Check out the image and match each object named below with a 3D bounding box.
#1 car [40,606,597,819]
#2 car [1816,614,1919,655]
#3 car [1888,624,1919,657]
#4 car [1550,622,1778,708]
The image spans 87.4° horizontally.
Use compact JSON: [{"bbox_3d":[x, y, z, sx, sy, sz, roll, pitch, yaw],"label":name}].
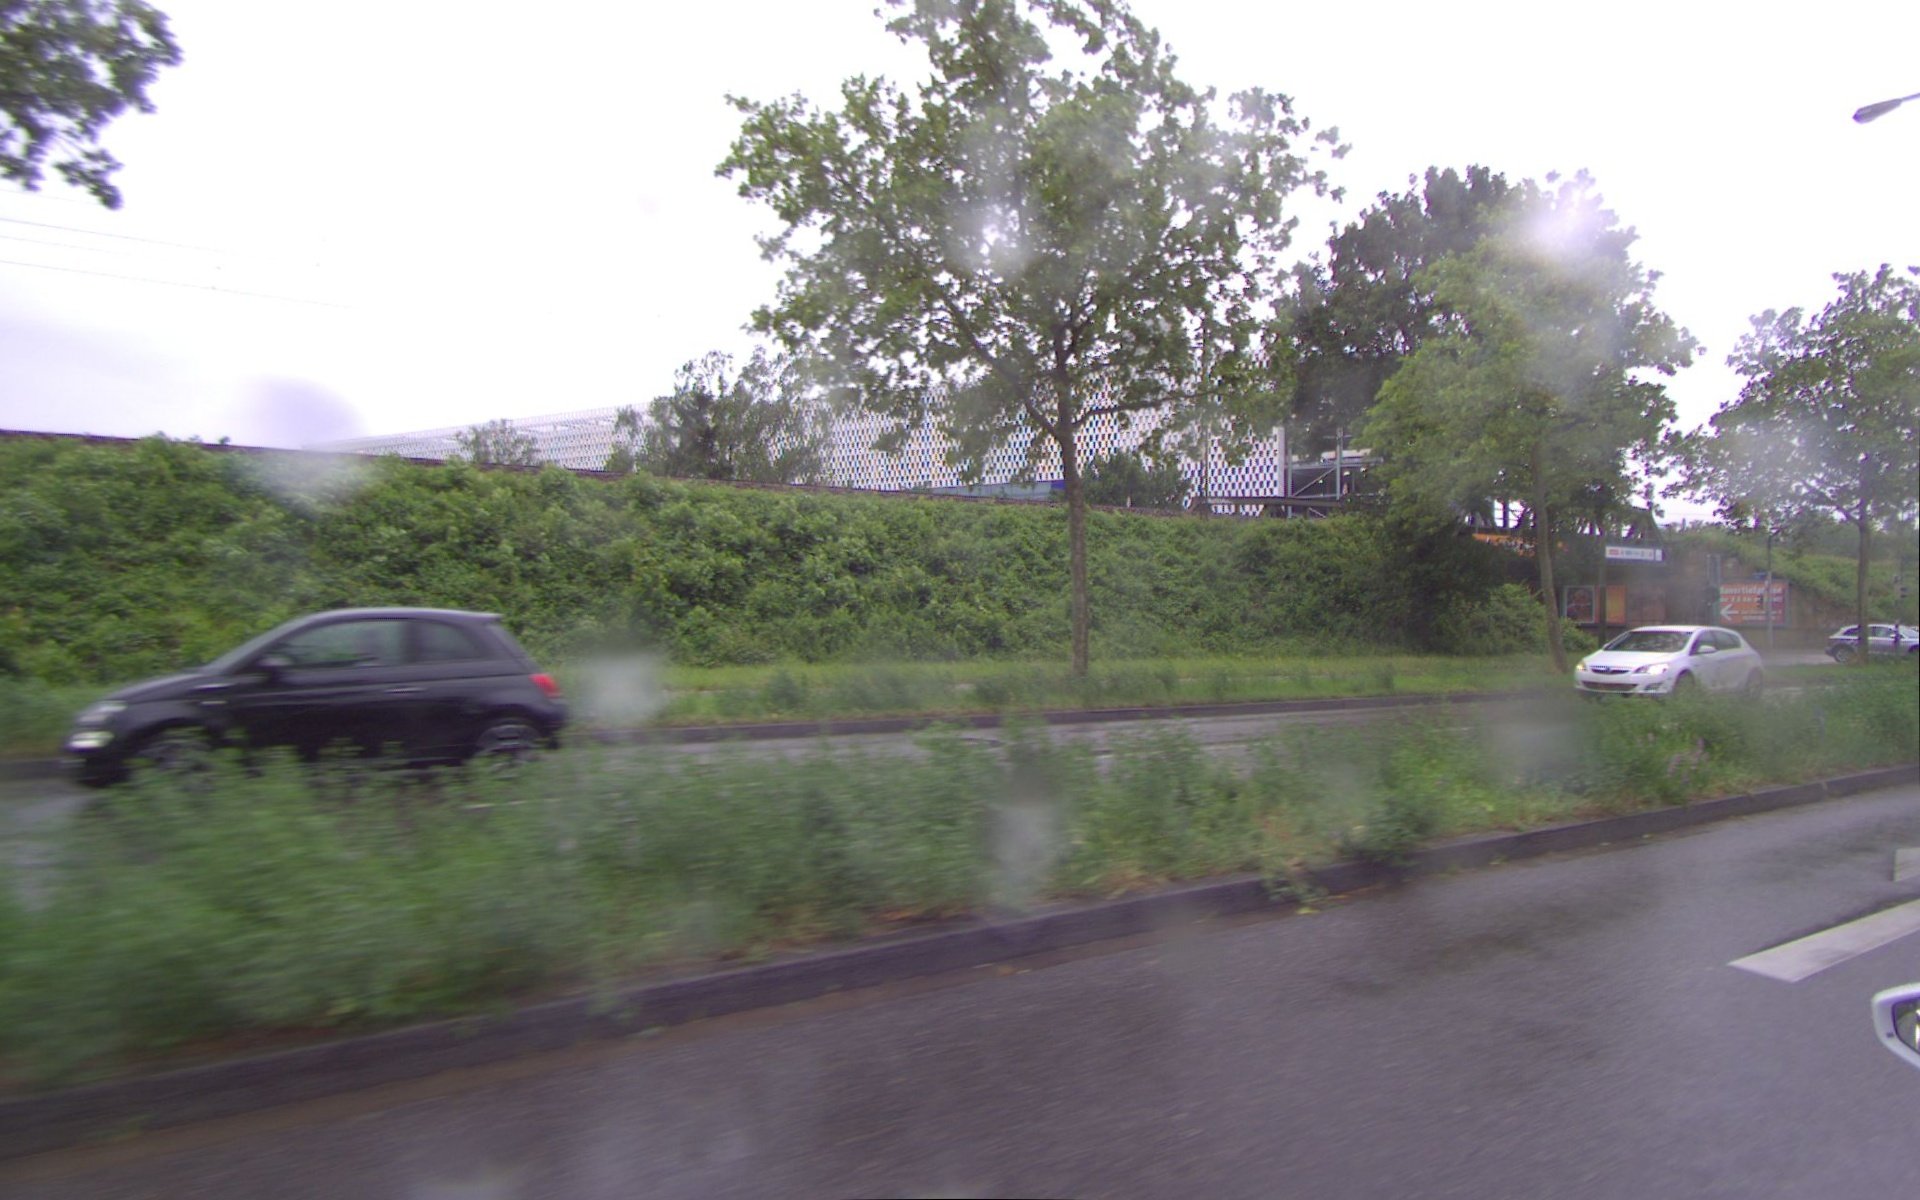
[{"bbox_3d":[-5.248,0.813,8.720,3.664,1.464,1.922,1,0,-30],"label":"car"},{"bbox_3d":[38.772,1.419,41.780,1.837,1.610,4.492,1,-1,-24],"label":"car"},{"bbox_3d":[46.403,1.917,46.828,4.311,1.557,1.798,0,-1,32],"label":"car"},{"bbox_3d":[13.860,1.201,19.721,4.602,1.464,1.921,1,0,-30],"label":"car"}]
